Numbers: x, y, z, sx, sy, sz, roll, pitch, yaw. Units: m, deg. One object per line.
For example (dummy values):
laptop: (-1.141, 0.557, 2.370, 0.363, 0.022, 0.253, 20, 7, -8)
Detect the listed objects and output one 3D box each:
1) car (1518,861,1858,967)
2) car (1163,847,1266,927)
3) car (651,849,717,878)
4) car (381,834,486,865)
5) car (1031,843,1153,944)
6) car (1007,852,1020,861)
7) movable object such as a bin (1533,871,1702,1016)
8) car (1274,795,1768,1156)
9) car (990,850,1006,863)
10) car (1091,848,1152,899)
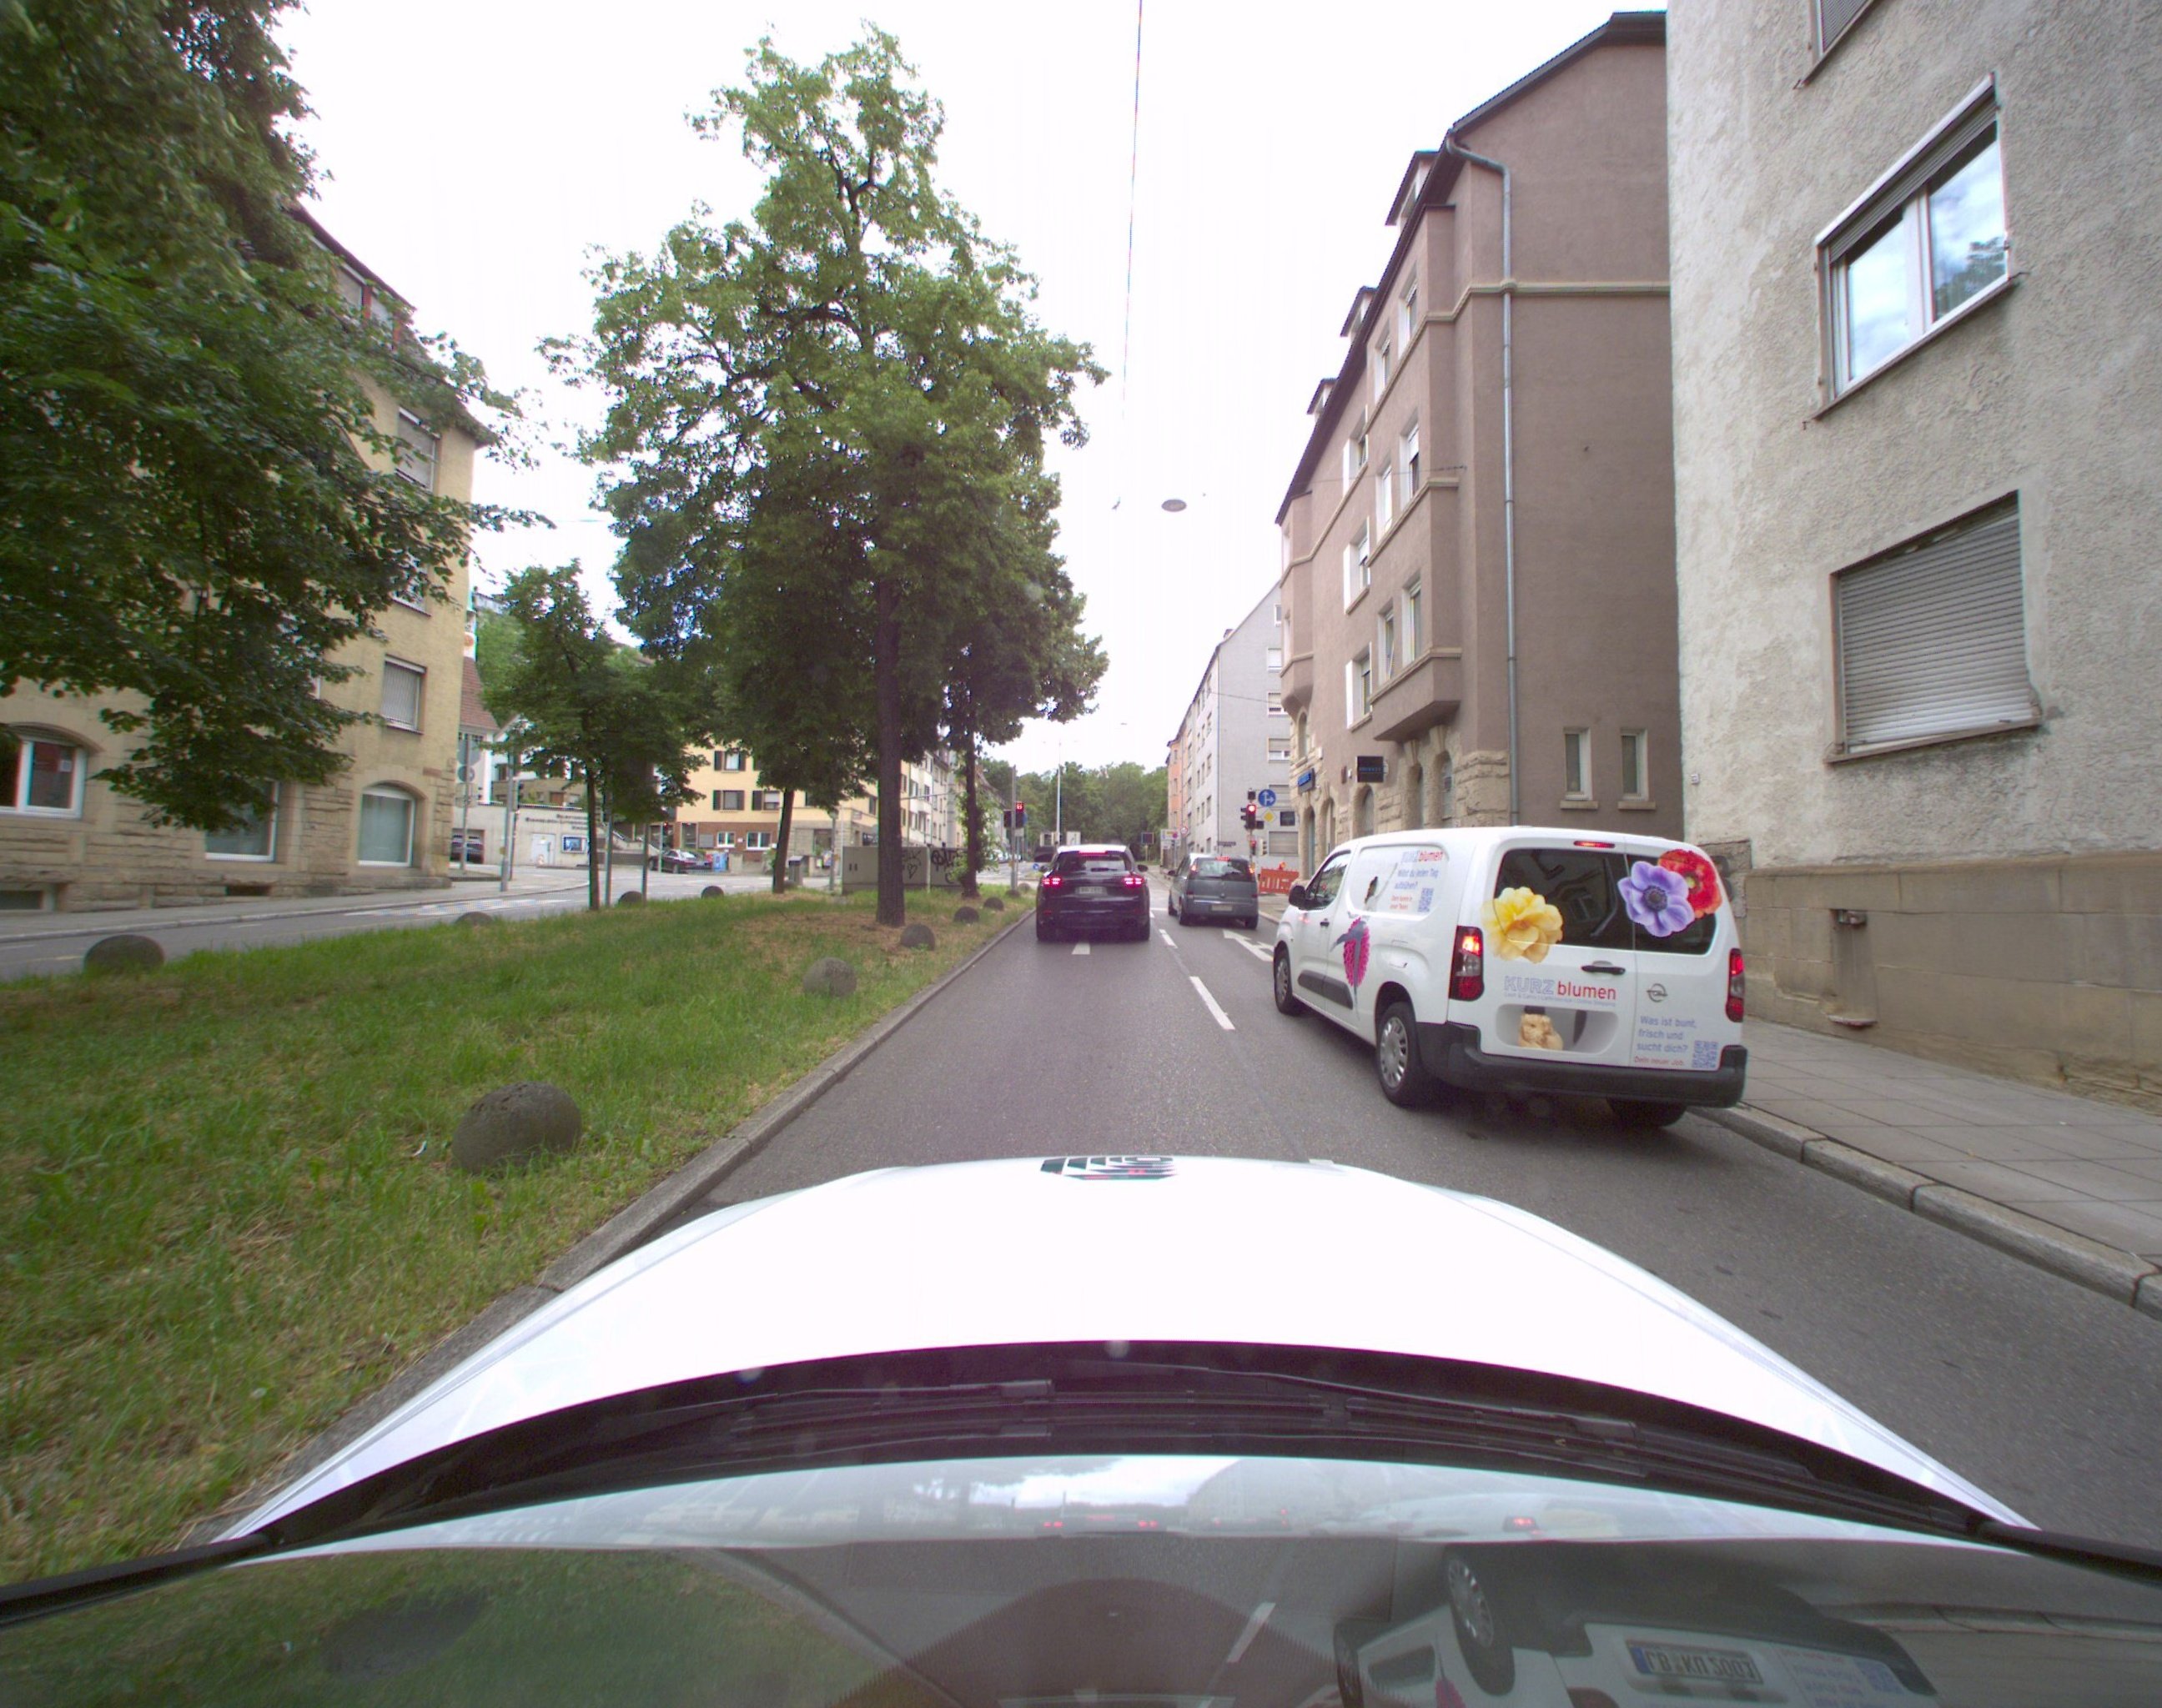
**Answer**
car: (9.352, 0.882, 12.814, 3.972, 1.403, 1.801, 1, 2, 2)
car: (2.981, 0.694, 18.903, 1.746, 1.593, 3.630, 3, 0, 0)
car: (-24.127, 0.602, 49.438, 3.948, 1.665, 1.894, -1, -2, 35)
car: (-32.699, -0.212, 41.181, 4.021, 1.510, 1.779, 1, 0, -42)
car: (0.274, 0.624, 15.275, 1.986, 1.653, 4.003, 0, 0, 3)
car: (-11.288, 0.369, 136.224, 1.788, 1.510, 4.000, 1, 0, 1)
movable object such as a bin: (5.777, 0.906, 8.910, 0.717, 1.421, 1.693, 0, -1, 0)
car: (2.893, 0.680, 6.792, 1.840, 1.825, 5.028, 1, -1, 6)
car: (-11.648, 0.301, 114.800, 1.788, 1.810, 4.000, 1, 0, 1)
car: (1.418, 0.657, 28.778, 1.986, 1.653, 4.003, 0, -1, 3)
